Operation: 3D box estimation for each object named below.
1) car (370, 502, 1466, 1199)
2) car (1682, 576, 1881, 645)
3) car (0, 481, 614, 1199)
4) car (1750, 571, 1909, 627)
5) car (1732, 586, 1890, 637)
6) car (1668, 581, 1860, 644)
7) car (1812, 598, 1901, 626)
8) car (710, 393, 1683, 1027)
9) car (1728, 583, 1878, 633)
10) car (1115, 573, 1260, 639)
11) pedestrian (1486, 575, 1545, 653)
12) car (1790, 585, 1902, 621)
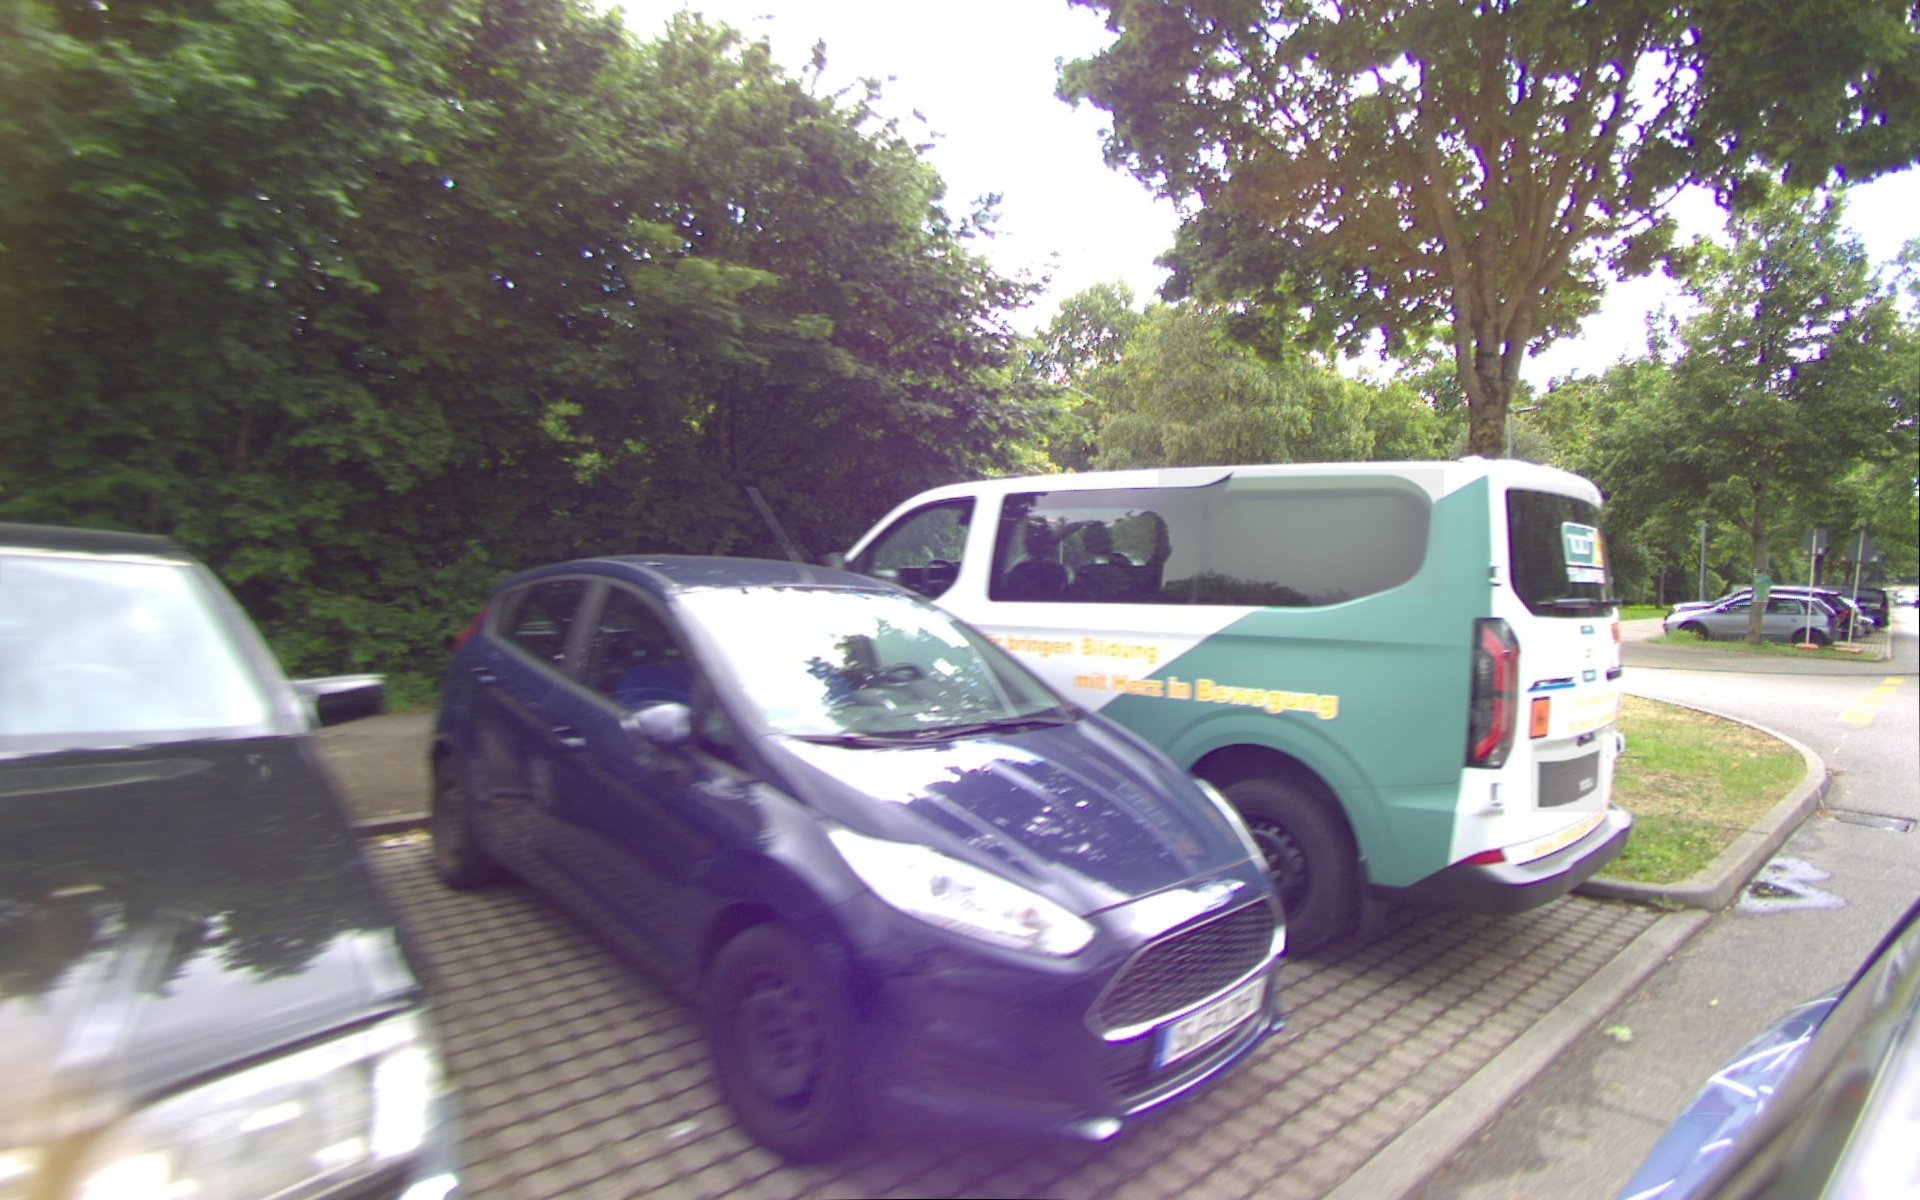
[{"bbox_3d":[-0.819,0.475,4.052,1.814,1.535,4.714,1,3,-41],"label":"car"},{"bbox_3d":[23.437,0.247,28.975,1.946,1.670,4.131,0,3,-42],"label":"car"},{"bbox_3d":[-2.790,0.464,2.596,2.020,1.451,4.735,1,3,-40],"label":"car"},{"bbox_3d":[37.304,-0.071,43.504,2.130,2.038,4.960,1,3,-45],"label":"car"},{"bbox_3d":[28.934,0.341,34.478,3.989,1.447,1.905,4,3,44],"label":"car"},{"bbox_3d":[21.613,0.283,27.299,1.822,1.420,3.836,0,3,-44],"label":"car"},{"bbox_3d":[56.731,0.715,64.050,4.076,1.474,1.821,5,3,45],"label":"car"},{"bbox_3d":[0.754,0.208,5.592,1.816,1.996,4.977,1,3,-45],"label":"car"},{"bbox_3d":[30.498,0.253,36.688,3.990,1.546,1.782,4,3,45],"label":"car"},{"bbox_3d":[6.454,0.129,29.018,1.735,1.689,3.789,0,2,-38],"label":"car"},{"bbox_3d":[11.719,0.287,21.358,0.795,1.596,0.836,1,1,-40],"label":"pedestrian"},{"bbox_3d":[47.879,0.142,54.738,4.417,1.696,2.049,5,2,44],"label":"car"}]
